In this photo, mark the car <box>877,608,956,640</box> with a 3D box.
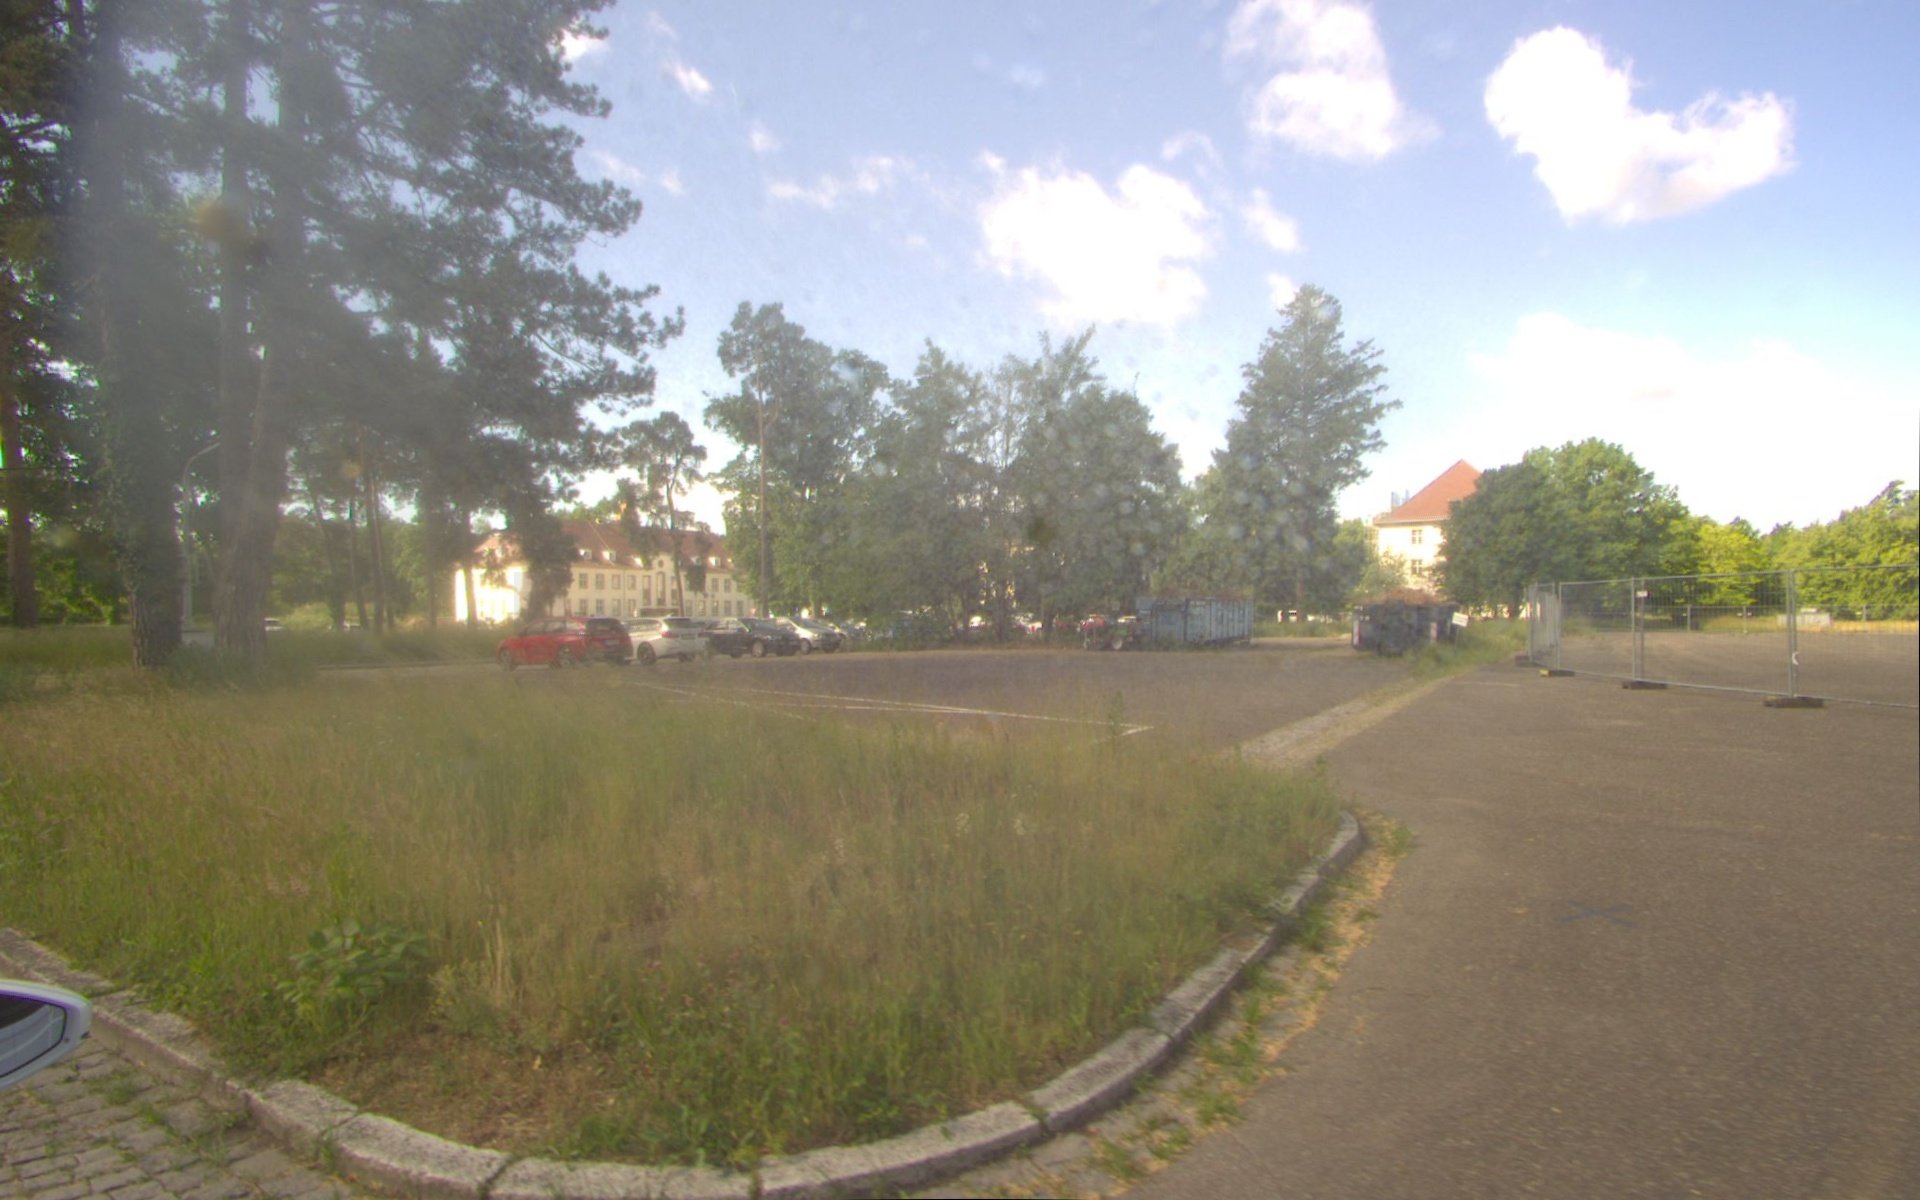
[{"bbox_3d":[-2.734,1.524,62.874,4.677,1.972,1.982,-1,-2,33],"label":"car"}]

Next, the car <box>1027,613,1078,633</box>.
[{"bbox_3d":[7.299,1.818,79.274,3.682,1.568,1.705,-1,-2,33],"label":"car"}]

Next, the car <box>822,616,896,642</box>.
[{"bbox_3d":[-5.926,1.716,58.689,4.181,1.487,1.721,-1,-2,33],"label":"car"}]

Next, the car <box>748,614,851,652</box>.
[{"bbox_3d":[-6.141,1.239,38.122,3.740,1.390,1.720,-1,-2,34],"label":"car"}]

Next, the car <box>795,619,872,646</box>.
[{"bbox_3d":[-7.059,1.812,55.842,4.181,1.443,1.721,-1,-2,33],"label":"car"}]

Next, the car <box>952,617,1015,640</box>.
[{"bbox_3d":[1.644,2.001,70.591,4.181,1.568,1.721,-1,-2,33],"label":"car"}]

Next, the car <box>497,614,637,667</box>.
[{"bbox_3d":[-11.213,1.156,28.467,4.071,1.416,1.653,-2,-2,33],"label":"car"}]

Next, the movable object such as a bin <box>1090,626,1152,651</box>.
[{"bbox_3d":[5.163,1.223,32.095,1.696,0.762,1.143,-1,-1,26],"label":"movable object such as a bin"}]

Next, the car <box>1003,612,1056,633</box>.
[{"bbox_3d":[5.266,1.697,75.881,3.640,1.568,1.705,-1,-2,33],"label":"car"}]

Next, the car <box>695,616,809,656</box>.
[{"bbox_3d":[-7.410,1.253,35.529,3.988,1.332,1.612,-1,0,33],"label":"car"}]

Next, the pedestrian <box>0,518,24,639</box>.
[{"bbox_3d":[-15.068,-0.315,15.066,1.154,1.820,1.058,-1,1,-28],"label":"pedestrian"}]

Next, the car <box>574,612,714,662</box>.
[{"bbox_3d":[-9.783,1.158,30.929,4.180,1.396,1.776,-3,-2,31],"label":"car"}]
